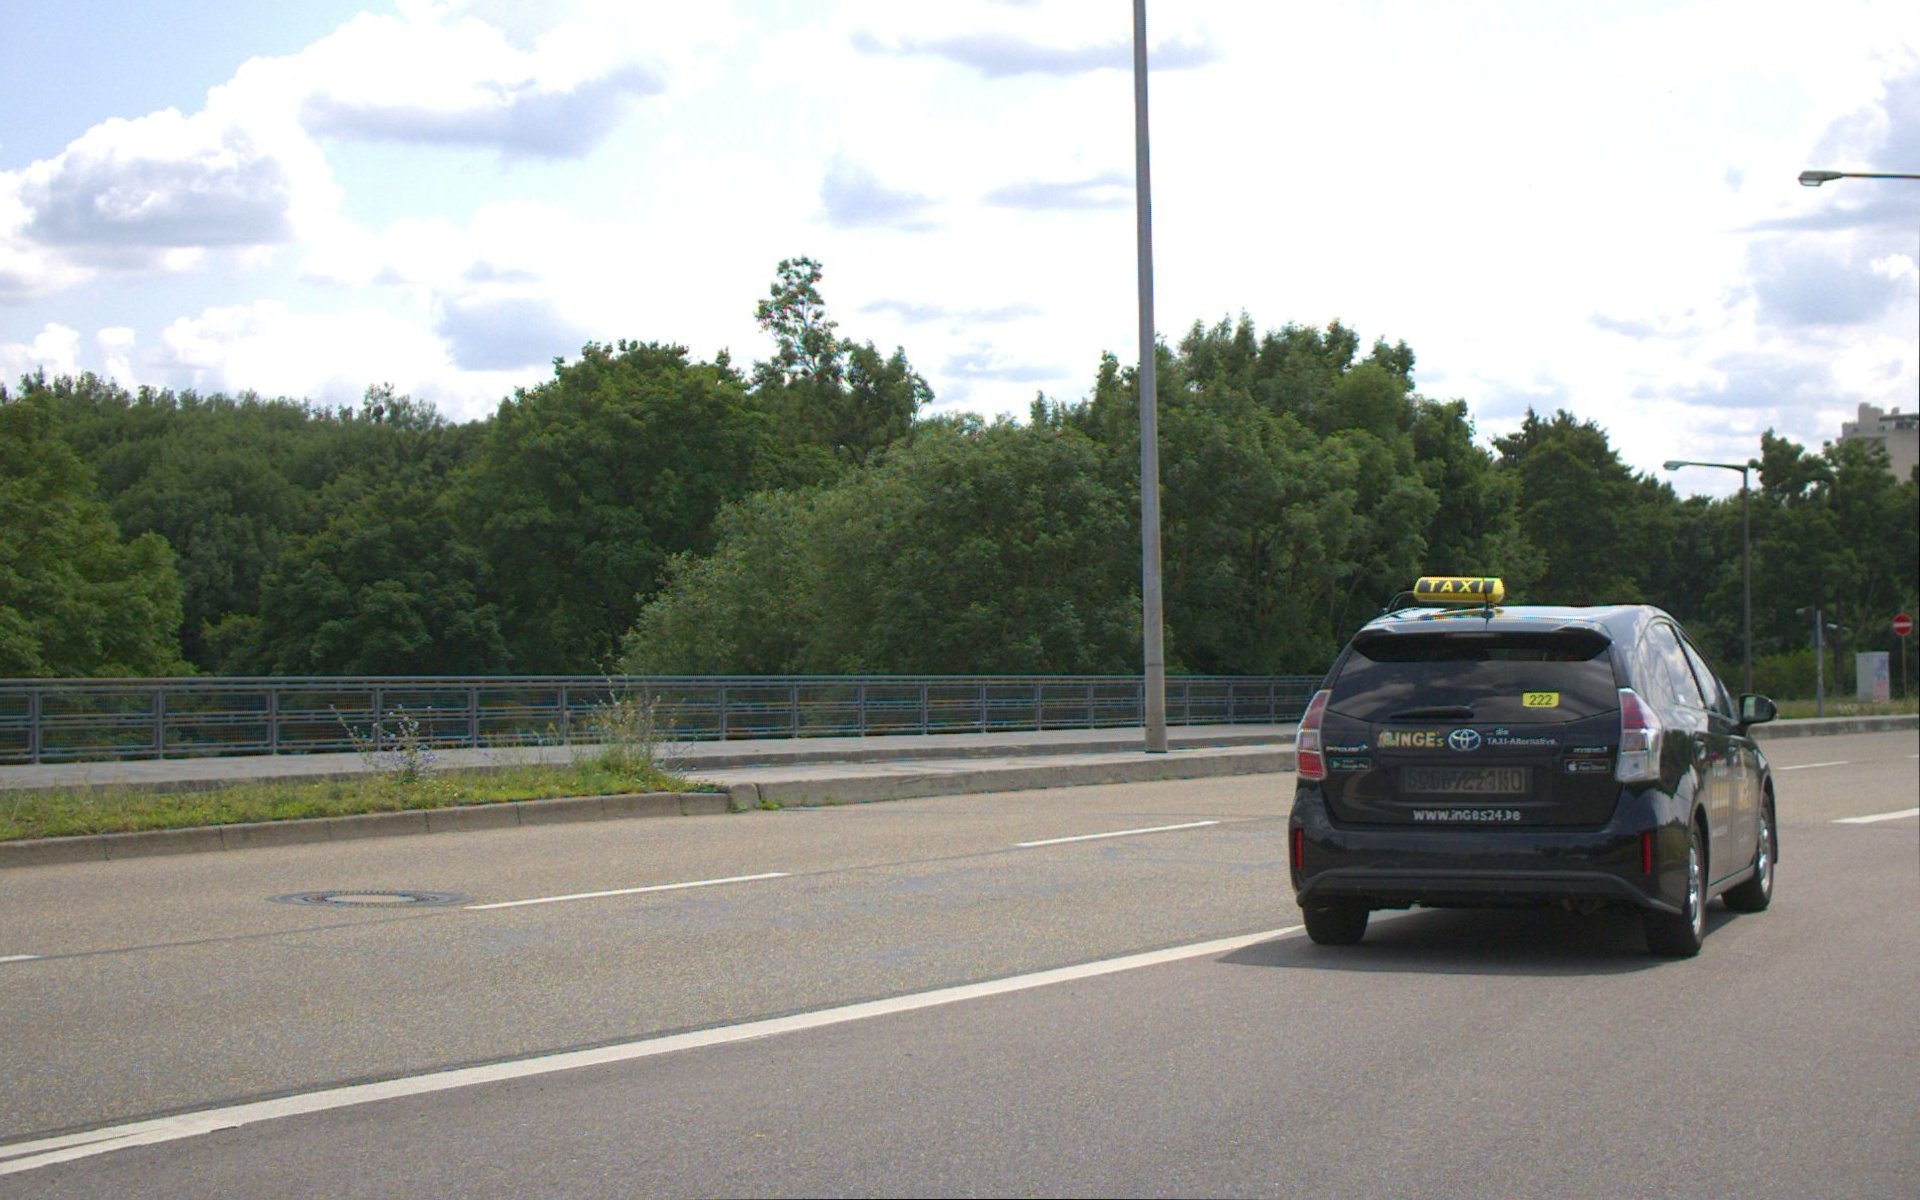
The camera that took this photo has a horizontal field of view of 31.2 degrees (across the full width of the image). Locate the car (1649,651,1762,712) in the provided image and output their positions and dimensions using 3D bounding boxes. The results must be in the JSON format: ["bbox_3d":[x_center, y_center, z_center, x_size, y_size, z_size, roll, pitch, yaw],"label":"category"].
[{"bbox_3d":[21.245,2.300,97.824,2.091,1.621,4.543,1,0,26],"label":"car"}]

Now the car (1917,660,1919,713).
[{"bbox_3d":[27.432,2.268,93.338,1.666,1.408,4.542,-4,-2,30],"label":"car"}]

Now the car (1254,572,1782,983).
[{"bbox_3d":[2.773,0.733,16.341,1.781,1.678,3.996,1,0,19],"label":"car"}]
